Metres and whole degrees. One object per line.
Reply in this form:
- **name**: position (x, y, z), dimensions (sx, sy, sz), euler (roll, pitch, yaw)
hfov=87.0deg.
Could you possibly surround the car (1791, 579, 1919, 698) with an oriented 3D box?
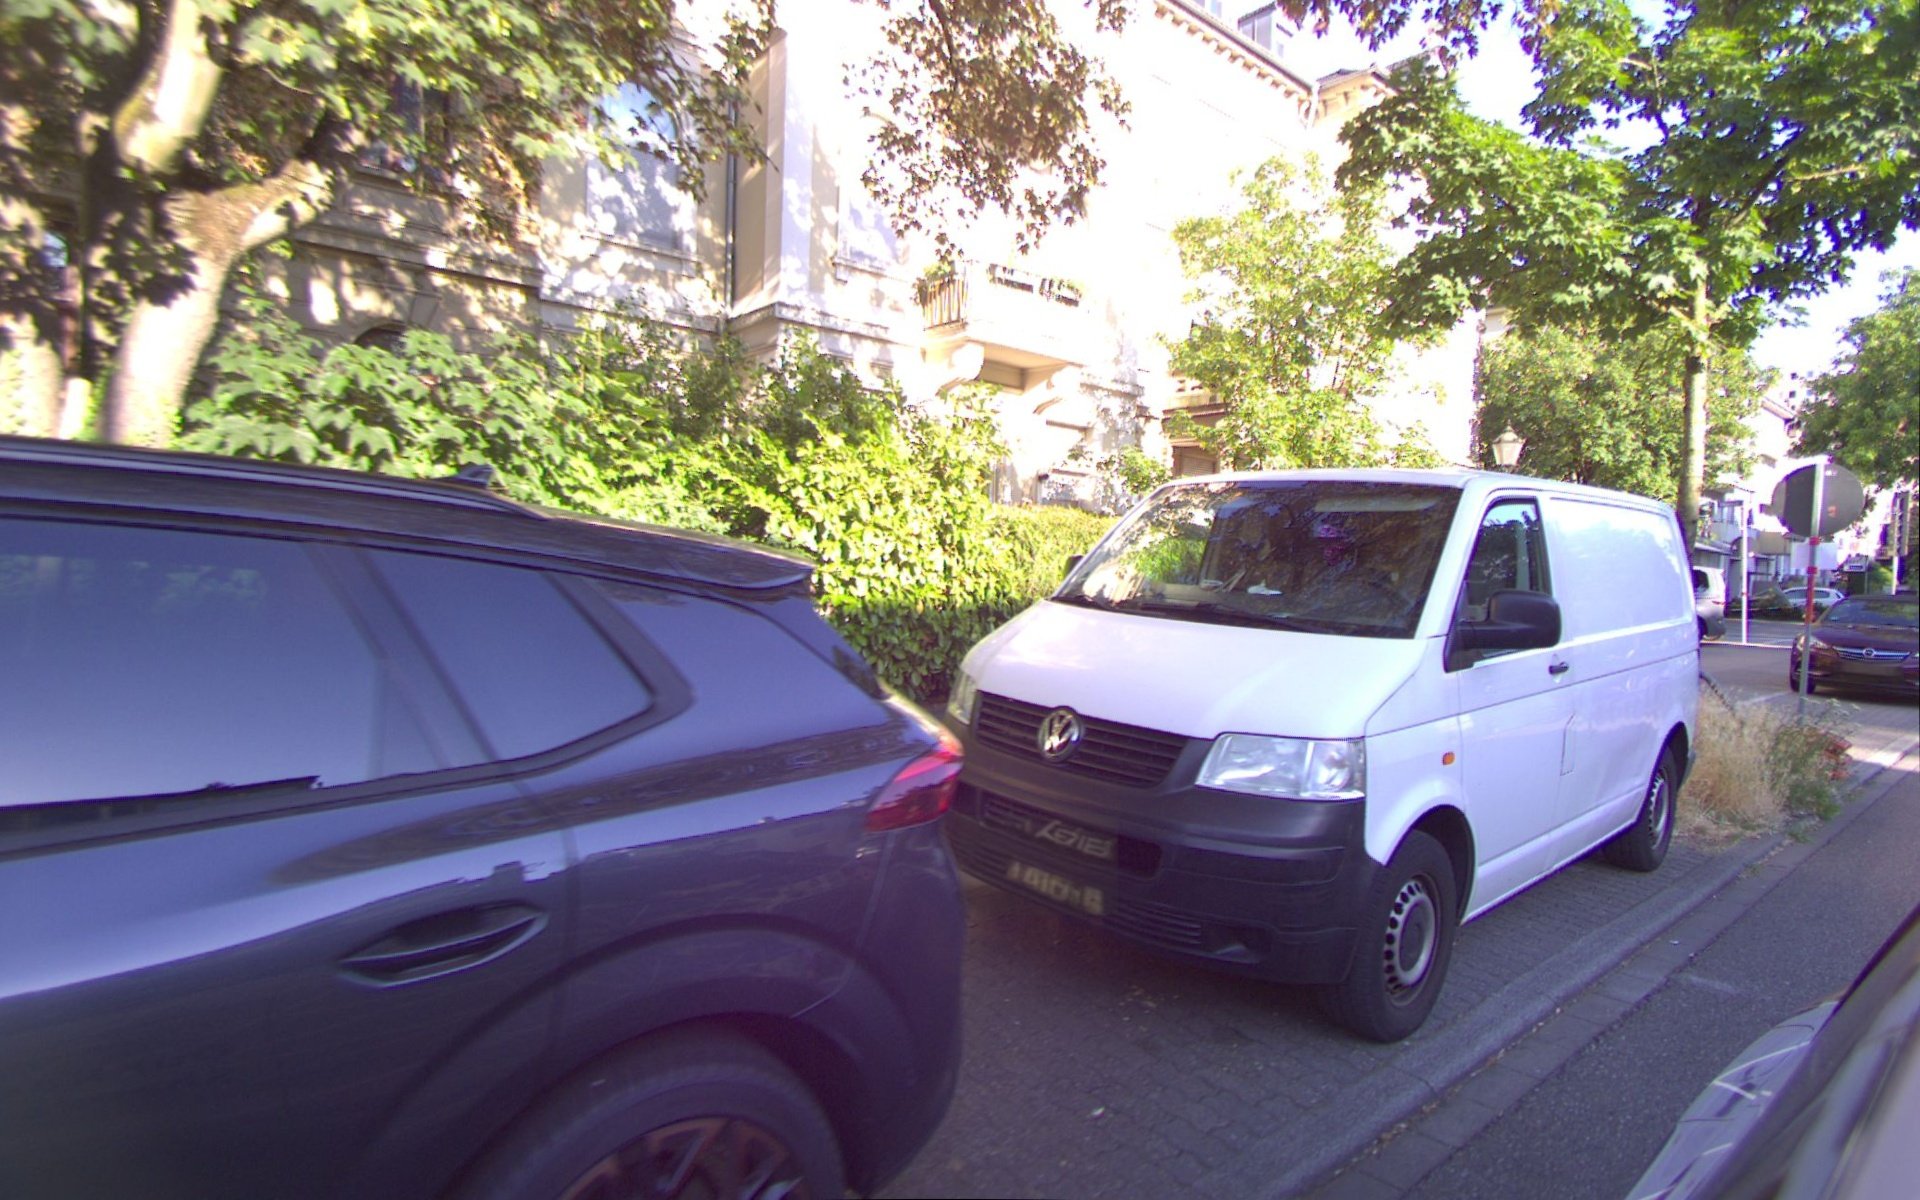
- **car**: position (13.671, 0.482, 14.618), dimensions (4.534, 1.437, 1.761), euler (-1, 5, -41)

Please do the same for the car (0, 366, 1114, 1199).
- **car**: position (-1.932, 0.515, 1.338), dimensions (4.236, 1.622, 1.860), euler (0, 5, -41)

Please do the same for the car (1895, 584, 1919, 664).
- **car**: position (20.147, 0.457, 20.042), dimensions (4.540, 1.496, 1.825), euler (0, 2, -40)

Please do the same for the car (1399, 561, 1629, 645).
- **car**: position (11.622, 0.003, 21.527), dimensions (4.062, 1.458, 1.701), euler (4, 3, 27)

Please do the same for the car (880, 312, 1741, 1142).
- **car**: position (2.015, 0.275, 4.839), dimensions (4.561, 2.129, 1.906), euler (-1, 2, -42)

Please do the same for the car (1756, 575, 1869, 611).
- **car**: position (39.740, -0.372, 47.239), dimensions (1.550, 1.523, 3.870), euler (-1, 3, -45)

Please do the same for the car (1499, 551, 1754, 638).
- **car**: position (16.227, -0.195, 24.995), dimensions (4.881, 1.923, 1.907), euler (2, 2, 22)

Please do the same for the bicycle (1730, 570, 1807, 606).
- **bicycle**: position (34.868, -0.552, 43.663), dimensions (0.912, 1.459, 2.457), euler (0, 2, -42)

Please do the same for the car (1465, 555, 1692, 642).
- **car**: position (13.940, -0.095, 23.101), dimensions (4.050, 1.720, 1.776), euler (3, 3, 21)

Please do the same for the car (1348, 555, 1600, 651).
- **car**: position (10.110, -0.004, 20.061), dimensions (4.220, 1.529, 1.772), euler (5, 3, 32)

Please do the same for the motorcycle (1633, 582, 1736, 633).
- **motorcycle**: position (19.281, 0.183, 26.949), dimensions (2.153, 1.255, 0.778), euler (3, 2, 40)
